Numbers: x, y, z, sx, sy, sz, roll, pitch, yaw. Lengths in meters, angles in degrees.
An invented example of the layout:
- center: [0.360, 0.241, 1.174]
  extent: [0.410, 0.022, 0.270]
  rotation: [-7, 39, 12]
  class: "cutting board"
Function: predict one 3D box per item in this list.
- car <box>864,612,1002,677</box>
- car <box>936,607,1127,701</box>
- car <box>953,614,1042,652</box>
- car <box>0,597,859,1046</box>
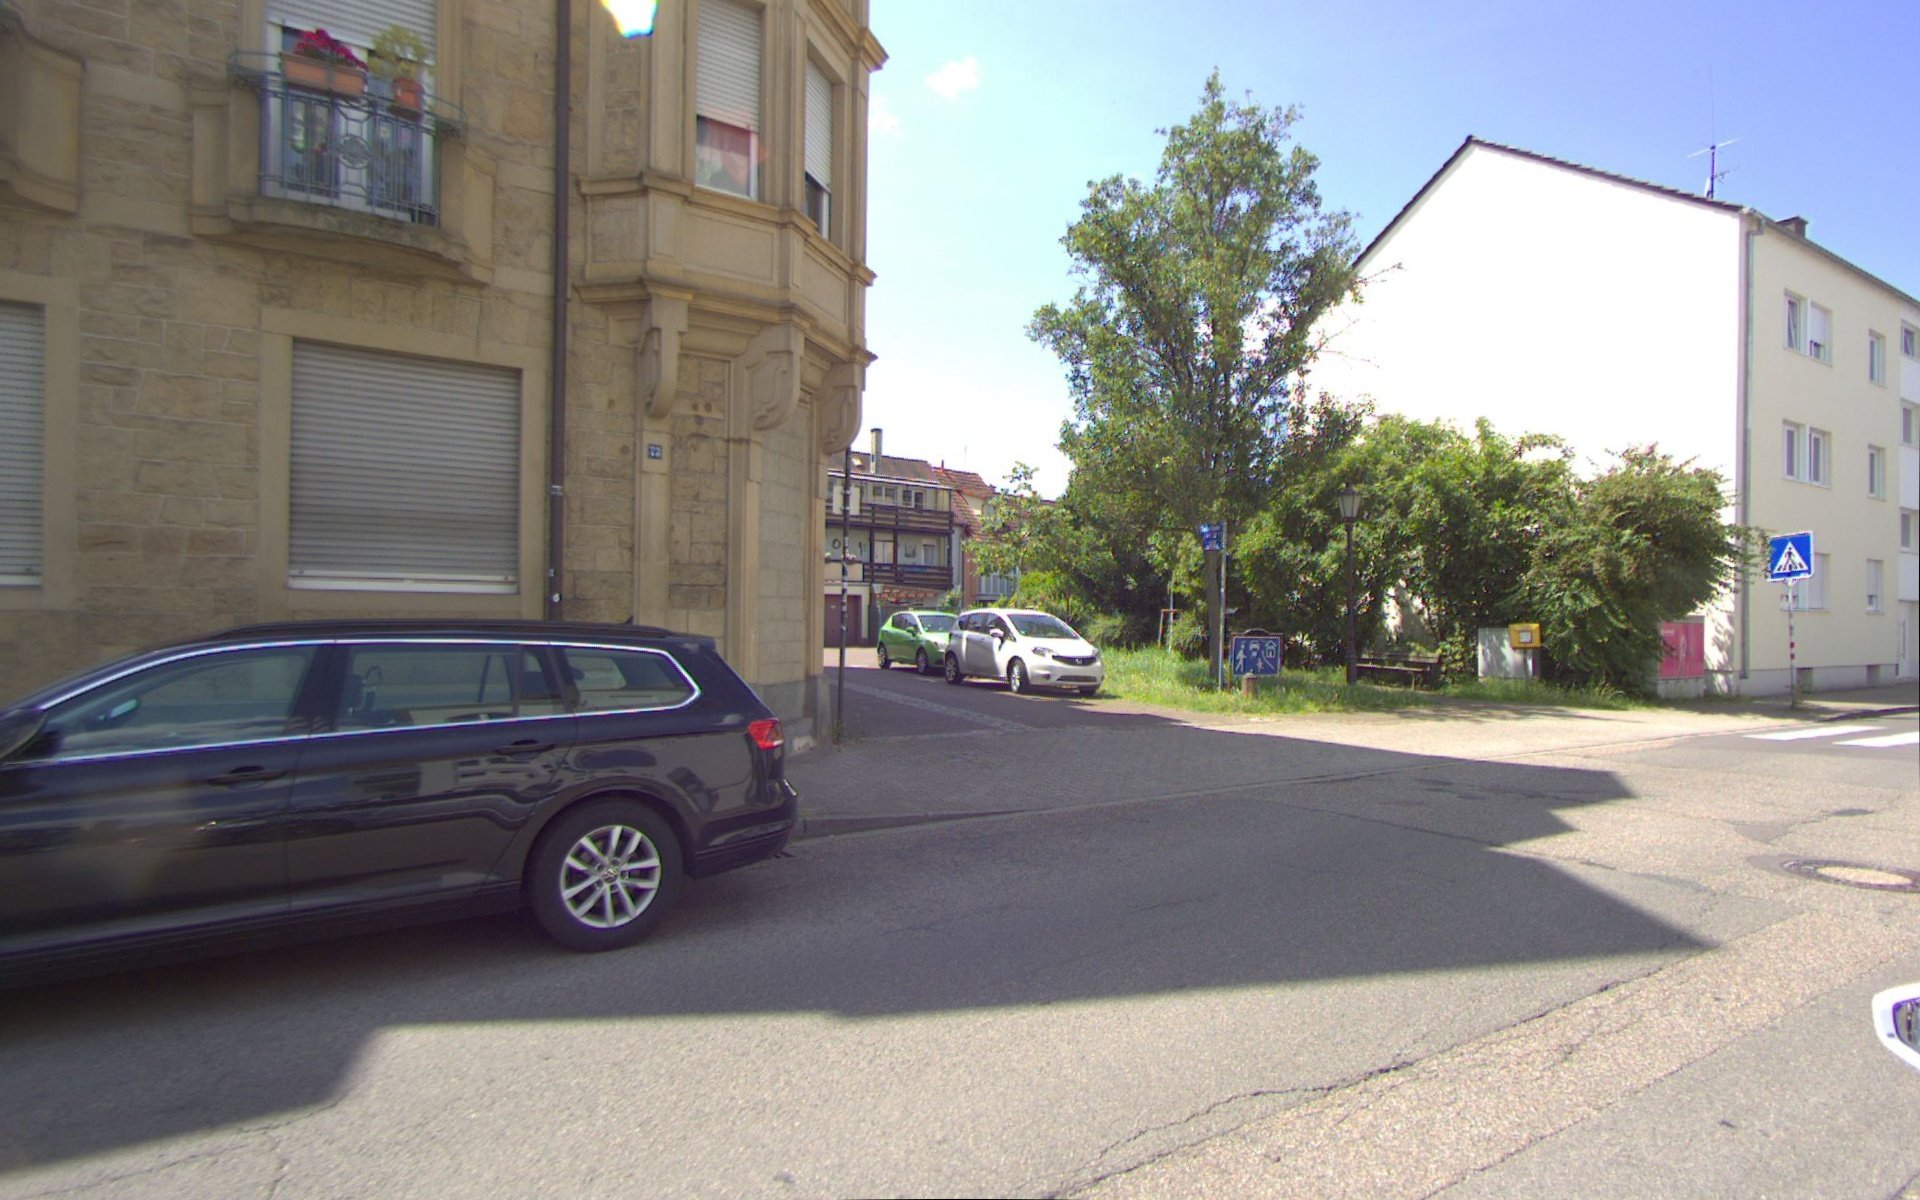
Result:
- center: [-0.750, 1.009, 24.140]
  extent: [1.781, 1.416, 3.972]
  rotation: [1, -1, -27]
  class: "car"
- center: [1.232, 0.943, 19.173]
  extent: [1.845, 1.522, 3.971]
  rotation: [1, 0, -27]
  class: "car"
- center: [1.608, 1.346, 42.178]
  extent: [1.438, 1.439, 3.976]
  rotation: [3, 1, 44]
  class: "car"
- center: [-2.908, 0.762, 4.517]
  extent: [4.582, 1.477, 1.774]
  rotation: [2, -1, -31]
  class: "car"
